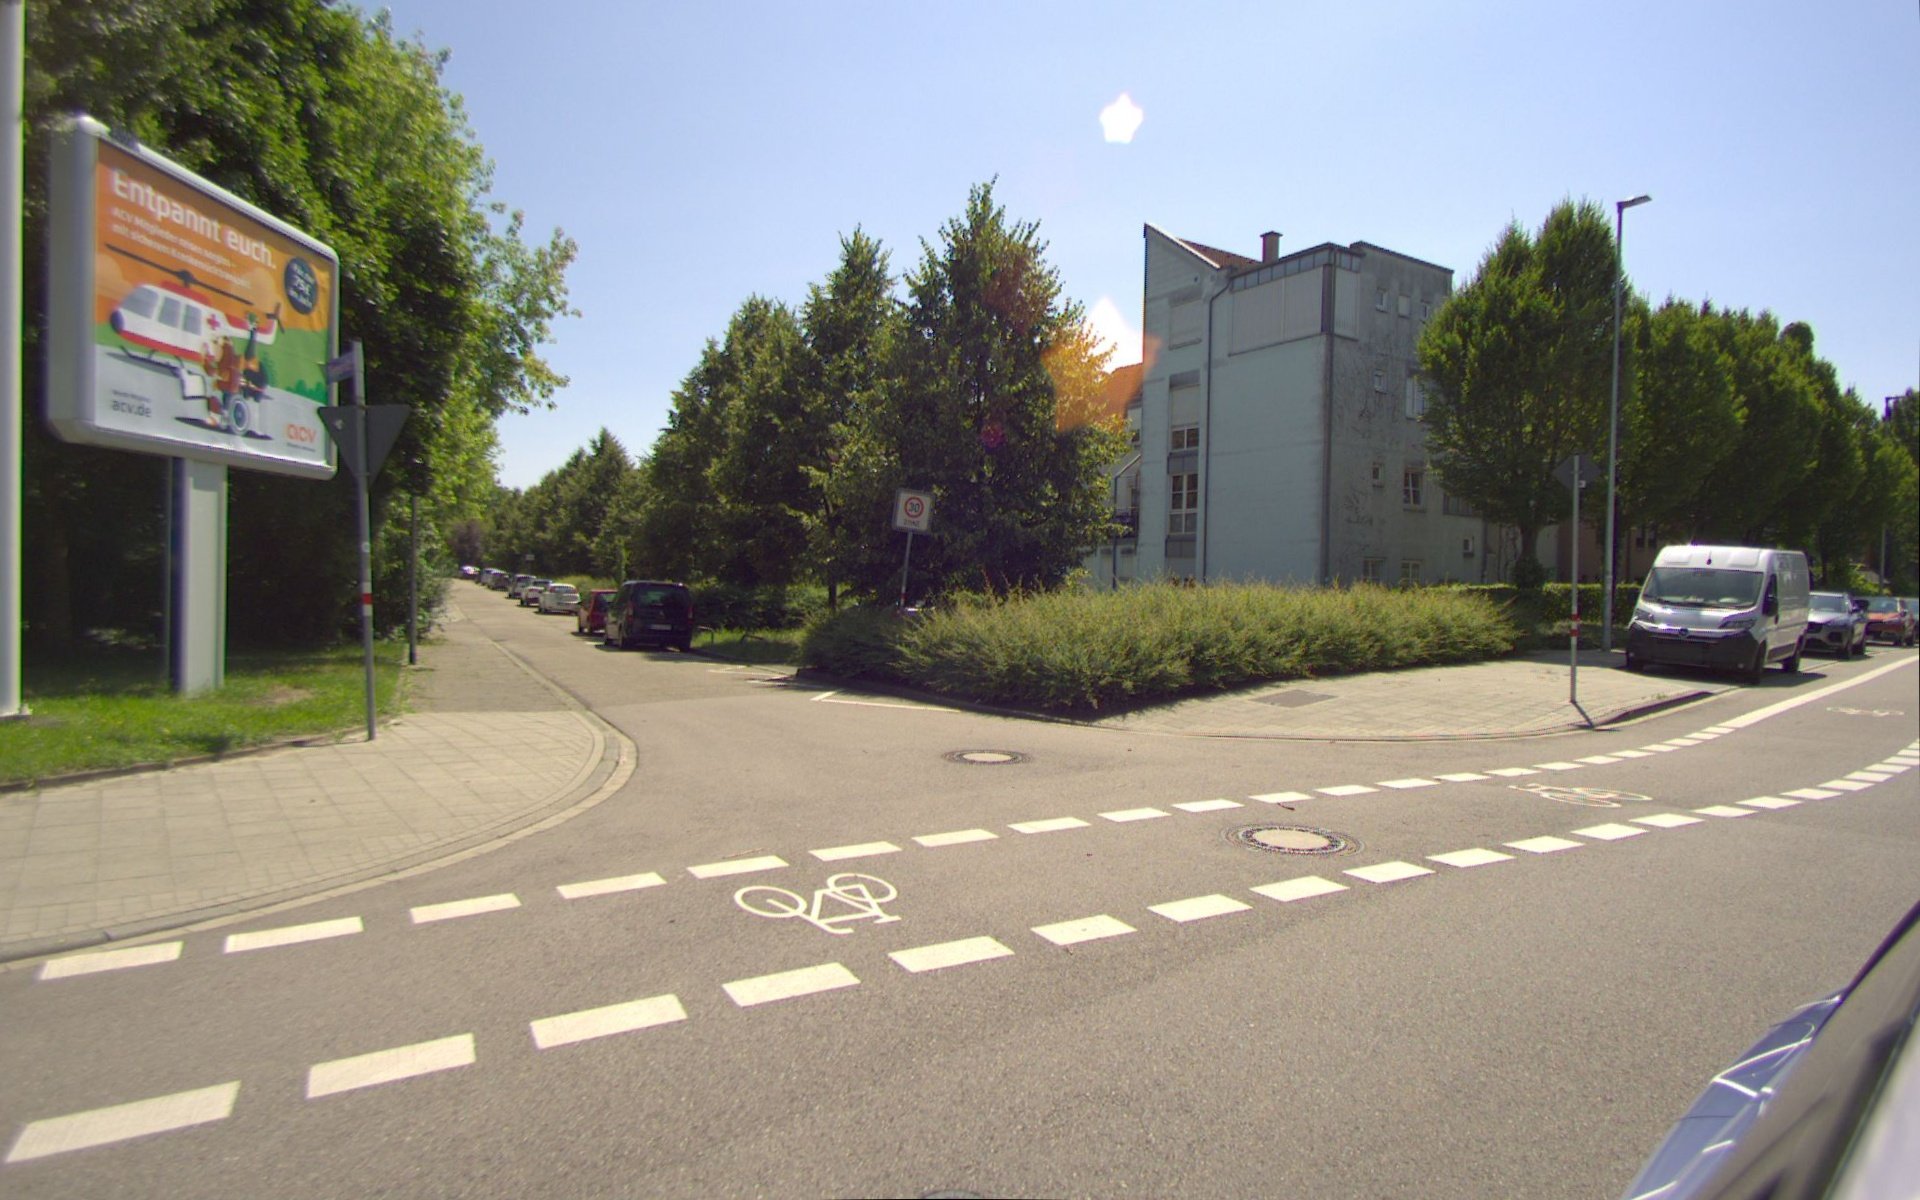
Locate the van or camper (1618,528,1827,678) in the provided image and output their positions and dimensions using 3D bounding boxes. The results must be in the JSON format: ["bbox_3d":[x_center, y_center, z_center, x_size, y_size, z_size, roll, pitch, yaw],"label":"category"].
[{"bbox_3d":[15.117,-0.035,19.902,5.892,2.513,2.124,-1,4,-43],"label":"van or camper"}]

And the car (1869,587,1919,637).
[{"bbox_3d":[34.458,0.411,36.501,3.930,1.682,1.997,0,1,-41],"label":"car"}]

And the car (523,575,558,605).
[{"bbox_3d":[-23.012,-0.567,55.435,1.701,1.571,3.820,0,1,-24],"label":"car"}]

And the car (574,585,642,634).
[{"bbox_3d":[-11.902,0.264,34.086,1.806,1.507,4.008,0,1,-24],"label":"car"}]

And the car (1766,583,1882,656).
[{"bbox_3d":[22.245,0.427,26.017,3.933,1.653,1.825,-1,3,-44],"label":"car"}]

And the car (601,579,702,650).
[{"bbox_3d":[-8.274,0.314,26.902,1.959,1.708,4.007,0,1,-26],"label":"car"}]

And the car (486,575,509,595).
[{"bbox_3d":[-39.029,-1.287,85.385,1.701,1.697,3.820,0,1,-24],"label":"car"}]

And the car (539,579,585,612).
[{"bbox_3d":[-19.576,-0.253,49.707,1.958,1.571,4.008,0,1,-24],"label":"car"}]

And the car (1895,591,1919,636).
[{"bbox_3d":[38.123,0.511,39.528,3.930,1.682,1.904,-1,1,-41],"label":"car"}]

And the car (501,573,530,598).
[{"bbox_3d":[-29.035,-0.938,66.128,1.701,1.571,3.820,0,1,-24],"label":"car"}]

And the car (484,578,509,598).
[{"bbox_3d":[-36.590,-0.969,79.912,1.701,1.571,3.820,0,1,-24],"label":"car"}]

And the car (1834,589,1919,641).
[{"bbox_3d":[29.946,0.439,32.838,3.929,1.571,1.812,-1,1,-40],"label":"car"}]

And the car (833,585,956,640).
[{"bbox_3d":[-2.076,0.322,30.942,1.961,1.540,4.229,0,1,-33],"label":"car"}]
